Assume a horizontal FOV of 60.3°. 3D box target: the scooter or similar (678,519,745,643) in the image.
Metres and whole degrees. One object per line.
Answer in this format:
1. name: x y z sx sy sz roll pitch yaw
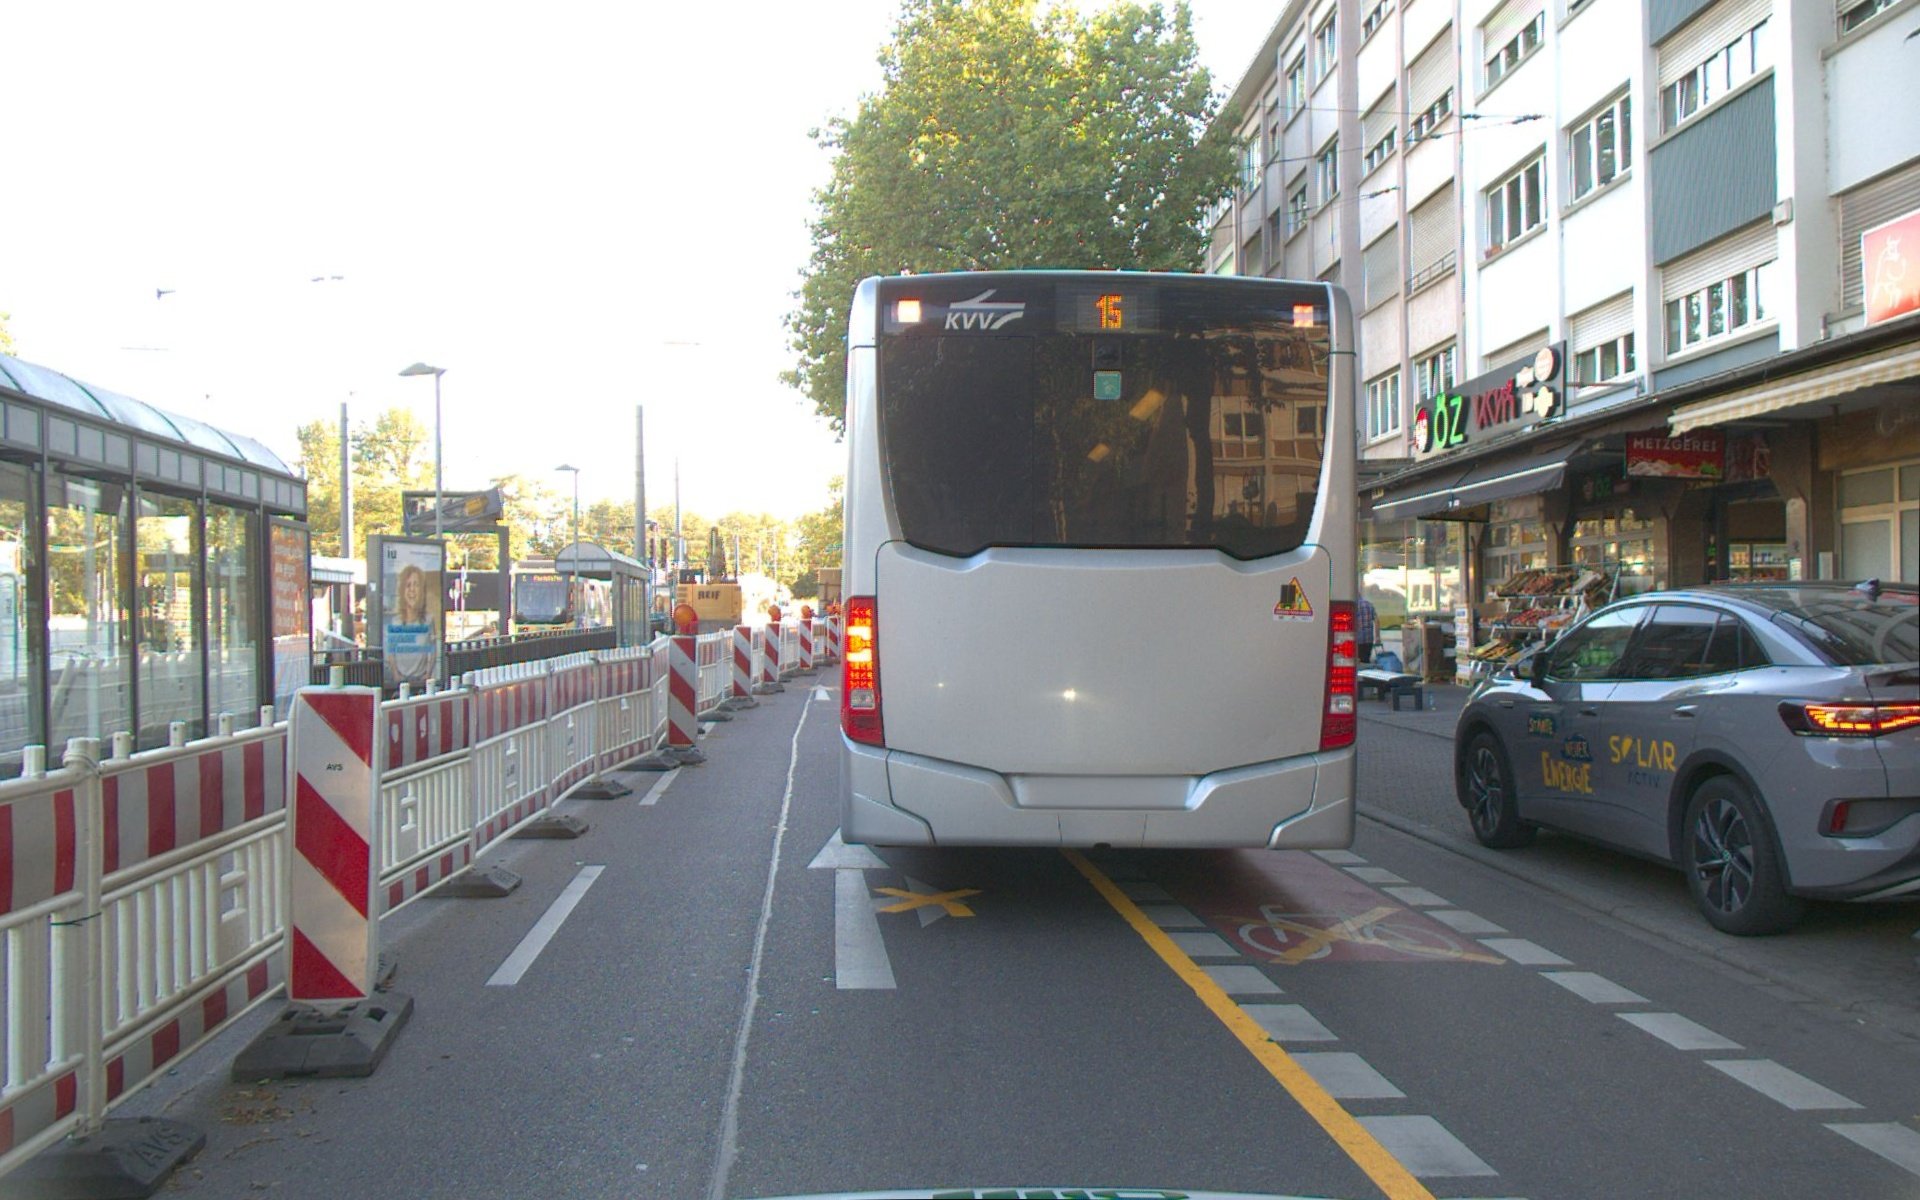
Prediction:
1. scooter or similar: -9.494 -0.679 63.517 2.422 4.549 5.962 0 0 -8

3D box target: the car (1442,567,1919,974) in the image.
1. car: 4.428 0.667 8.999 1.955 1.609 4.363 -3 0 -5

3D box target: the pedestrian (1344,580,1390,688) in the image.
1. pedestrian: 6.572 0.548 26.701 0.649 1.696 0.601 -2 -1 15

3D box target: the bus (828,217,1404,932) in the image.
1. bus: 0.672 -0.086 11.489 2.558 3.181 7.991 1 0 -1

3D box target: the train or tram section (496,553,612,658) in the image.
1. train or tram section: -15.313 0.228 63.256 2.634 3.595 11.756 1 -1 -6

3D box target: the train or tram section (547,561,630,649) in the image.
1. train or tram section: -16.661 0.260 74.849 2.636 3.621 11.561 1 -1 -8
